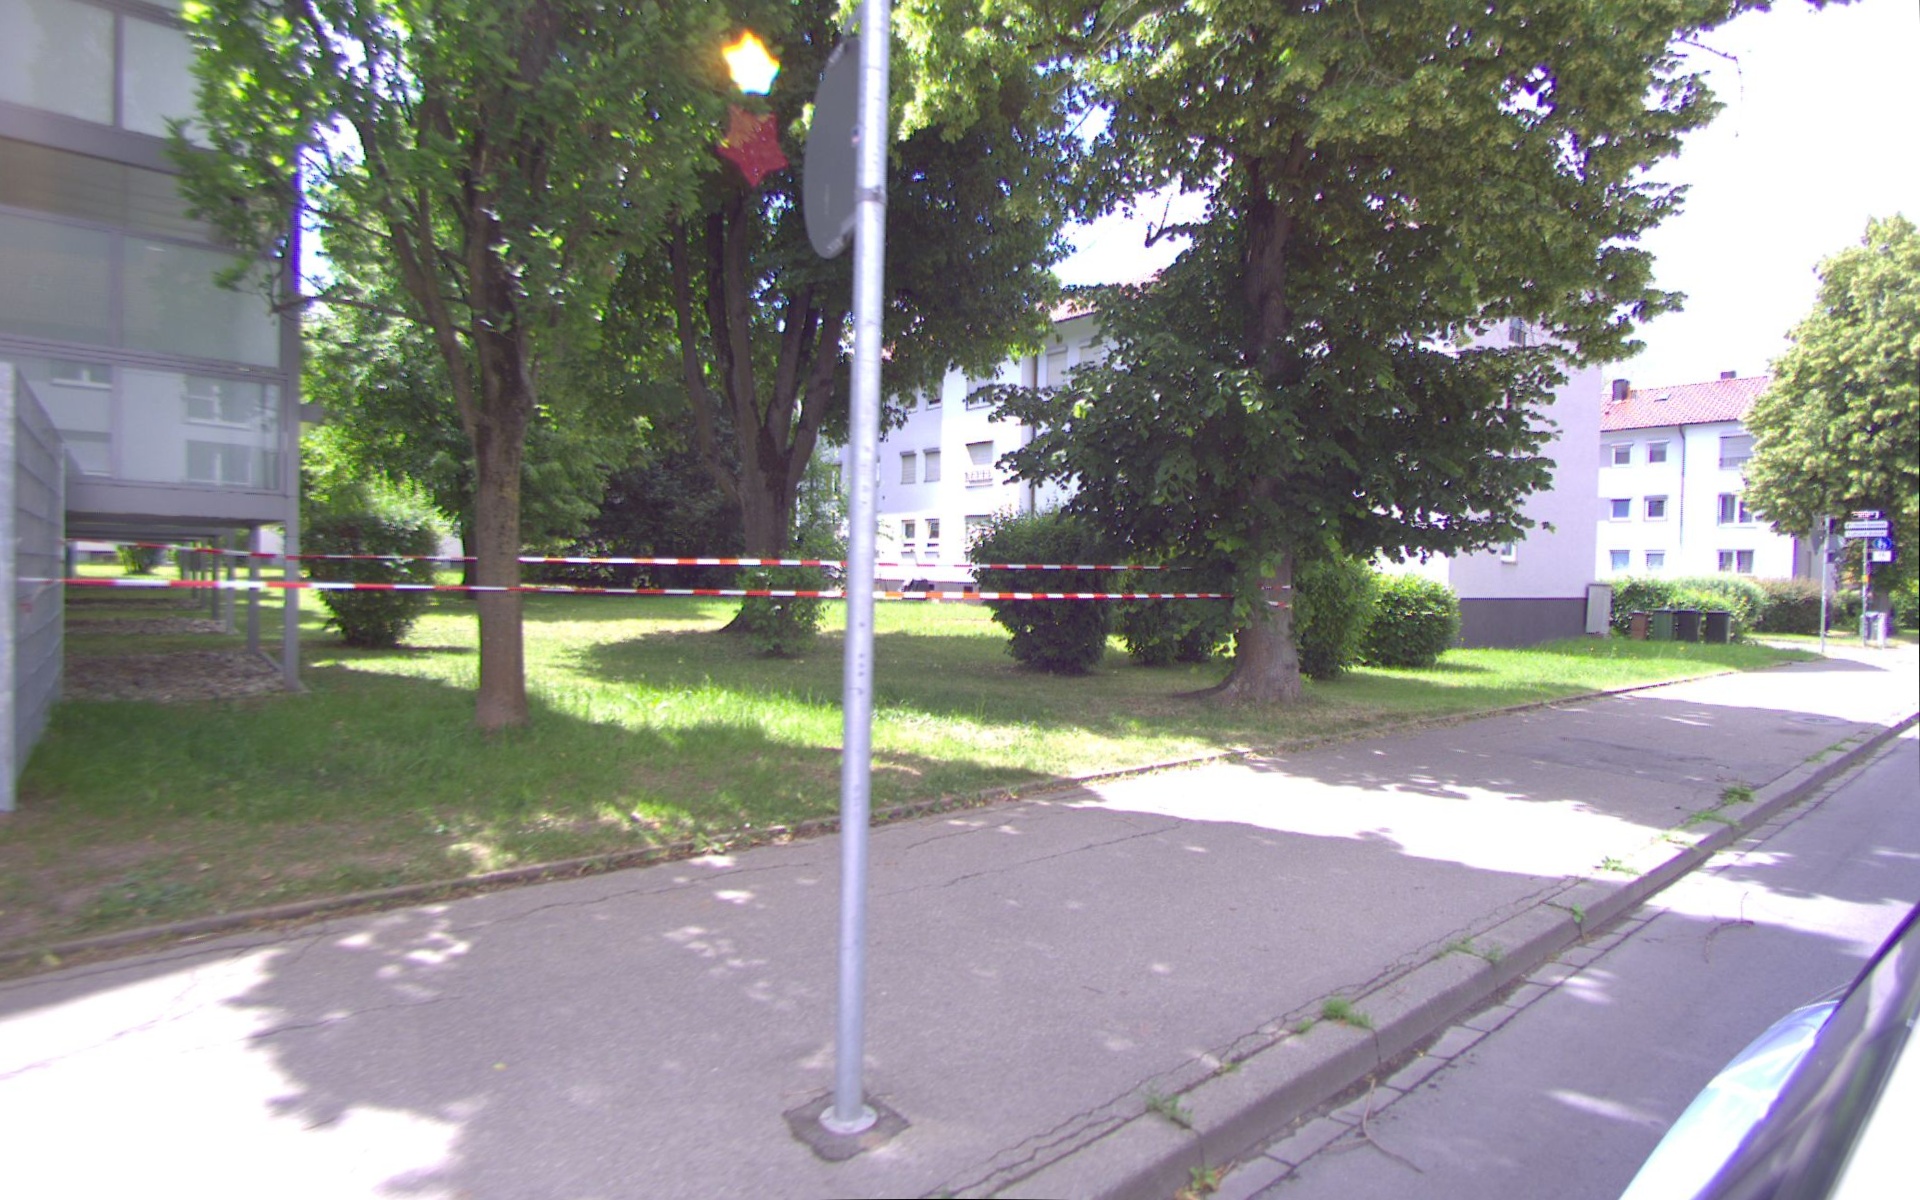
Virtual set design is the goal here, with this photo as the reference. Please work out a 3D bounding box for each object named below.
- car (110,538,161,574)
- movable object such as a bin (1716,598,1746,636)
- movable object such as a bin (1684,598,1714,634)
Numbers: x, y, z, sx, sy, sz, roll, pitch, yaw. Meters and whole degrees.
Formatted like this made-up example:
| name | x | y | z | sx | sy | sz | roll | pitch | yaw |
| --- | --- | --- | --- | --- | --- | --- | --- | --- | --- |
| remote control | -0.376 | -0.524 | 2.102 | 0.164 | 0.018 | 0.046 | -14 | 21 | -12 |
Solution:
| name | x | y | z | sx | sy | sz | roll | pitch | yaw |
| --- | --- | --- | --- | --- | --- | --- | --- | --- | --- |
| car | -25.608 | -1.337 | 31.478 | 1.142 | 1.006 | 2.436 | 0 | 0 | -38 |
| movable object such as a bin | 20.536 | 0.456 | 26.949 | 0.570 | 0.966 | 0.497 | 1 | 2 | -41 |
| movable object such as a bin | 19.984 | 0.427 | 27.373 | 0.541 | 0.959 | 0.501 | 1 | 2 | -41 |
